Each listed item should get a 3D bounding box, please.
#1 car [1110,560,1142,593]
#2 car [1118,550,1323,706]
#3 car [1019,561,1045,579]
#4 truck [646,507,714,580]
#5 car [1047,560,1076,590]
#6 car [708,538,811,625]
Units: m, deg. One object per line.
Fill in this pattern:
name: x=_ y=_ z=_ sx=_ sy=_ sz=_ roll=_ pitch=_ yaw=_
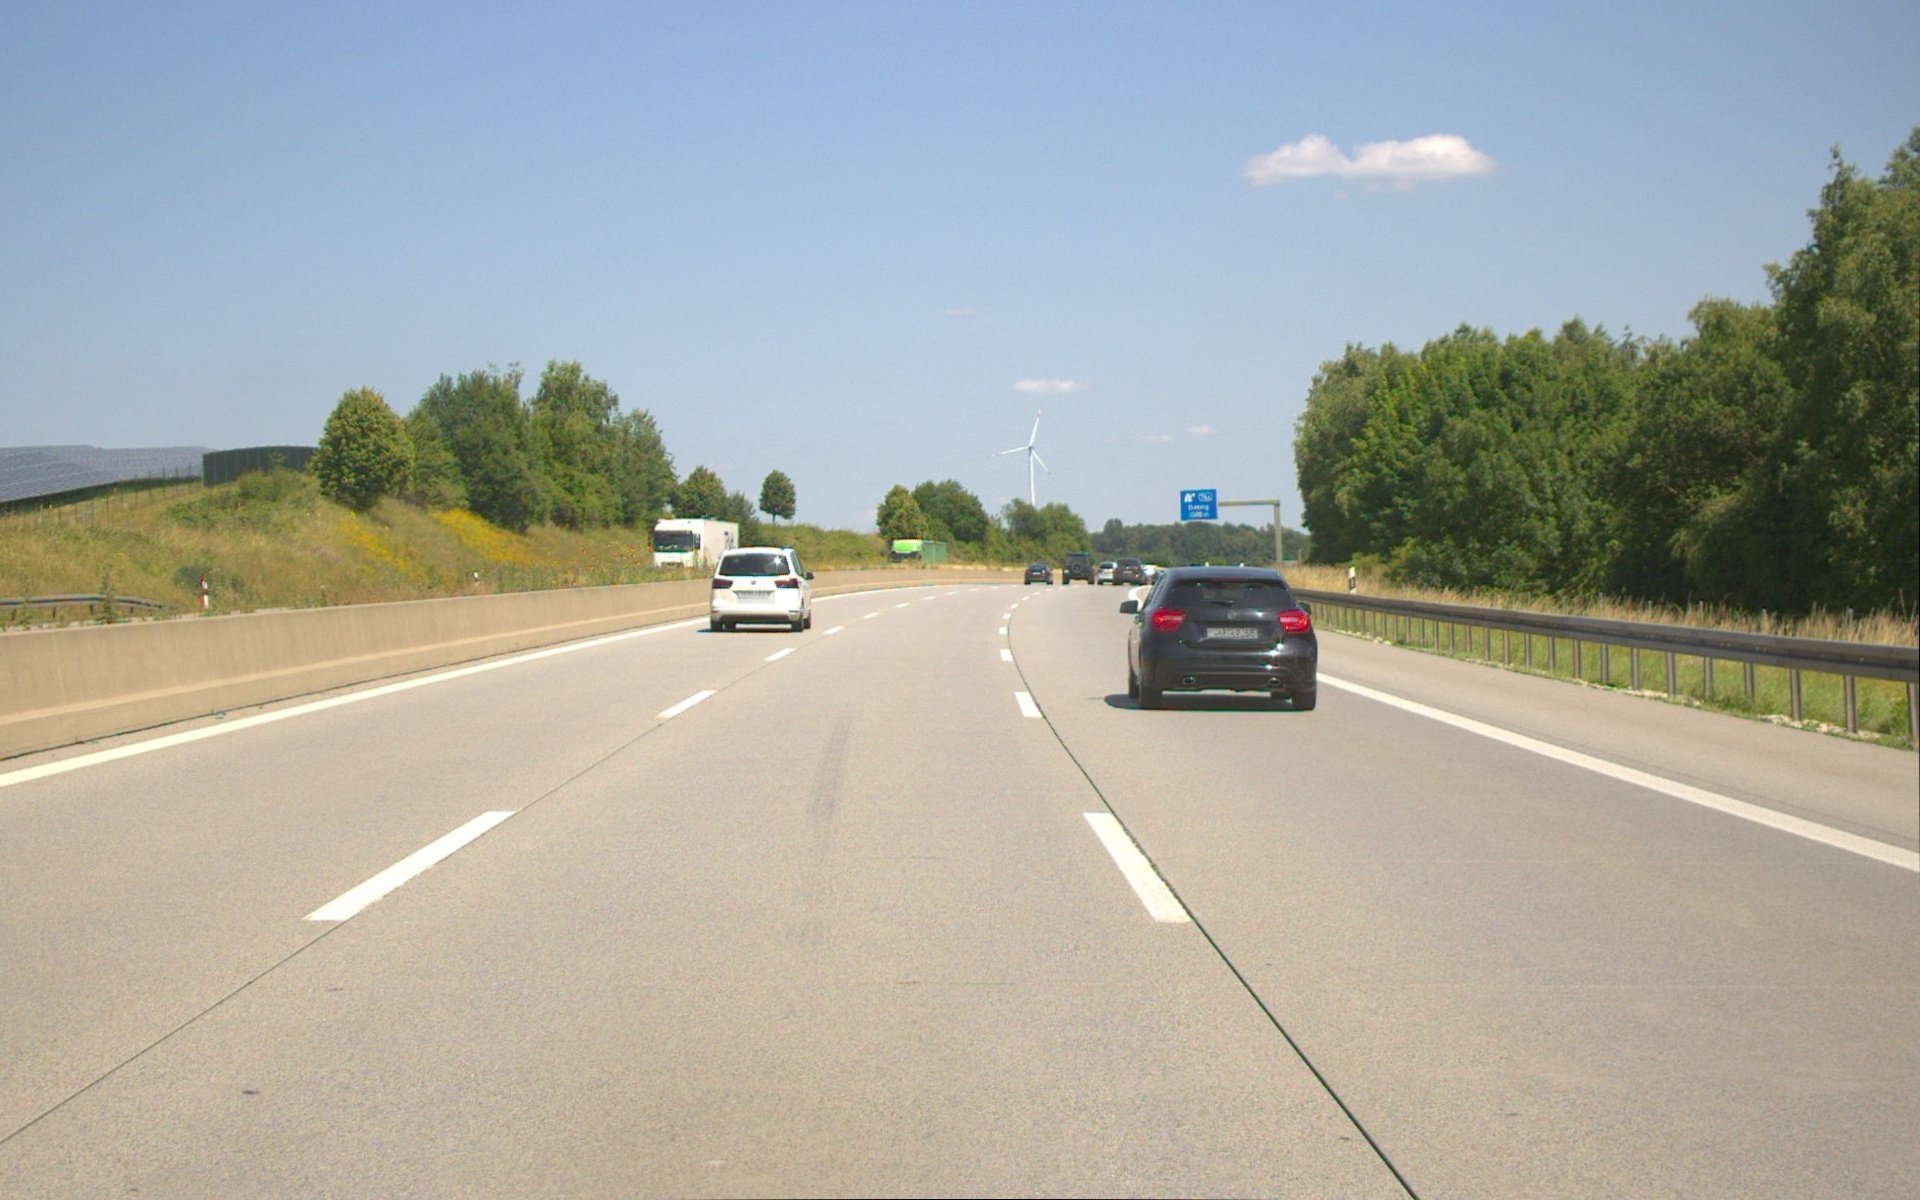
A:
car: x=9.852 y=-1.391 z=204.232 sx=1.827 sy=1.900 sz=4.000 roll=0 pitch=1 yaw=4
car: x=2.638 y=0.243 z=35.672 sx=1.910 sy=1.487 sz=4.192 roll=0 pitch=1 yaw=2
car: x=5.107 y=-2.125 z=245.007 sx=1.655 sy=1.192 sz=3.960 roll=2 pitch=1 yaw=-1
truck: x=-15.845 y=-3.223 z=195.054 sx=2.991 sy=4.046 sz=6.869 roll=0 pitch=1 yaw=2
car: x=6.528 y=-1.602 z=221.386 sx=1.827 sy=1.931 sz=3.809 roll=-1 pitch=1 yaw=2
car: x=-4.081 y=-0.388 z=70.665 sx=1.845 sy=1.702 sz=6.036 roll=0 pitch=0 yaw=-1
